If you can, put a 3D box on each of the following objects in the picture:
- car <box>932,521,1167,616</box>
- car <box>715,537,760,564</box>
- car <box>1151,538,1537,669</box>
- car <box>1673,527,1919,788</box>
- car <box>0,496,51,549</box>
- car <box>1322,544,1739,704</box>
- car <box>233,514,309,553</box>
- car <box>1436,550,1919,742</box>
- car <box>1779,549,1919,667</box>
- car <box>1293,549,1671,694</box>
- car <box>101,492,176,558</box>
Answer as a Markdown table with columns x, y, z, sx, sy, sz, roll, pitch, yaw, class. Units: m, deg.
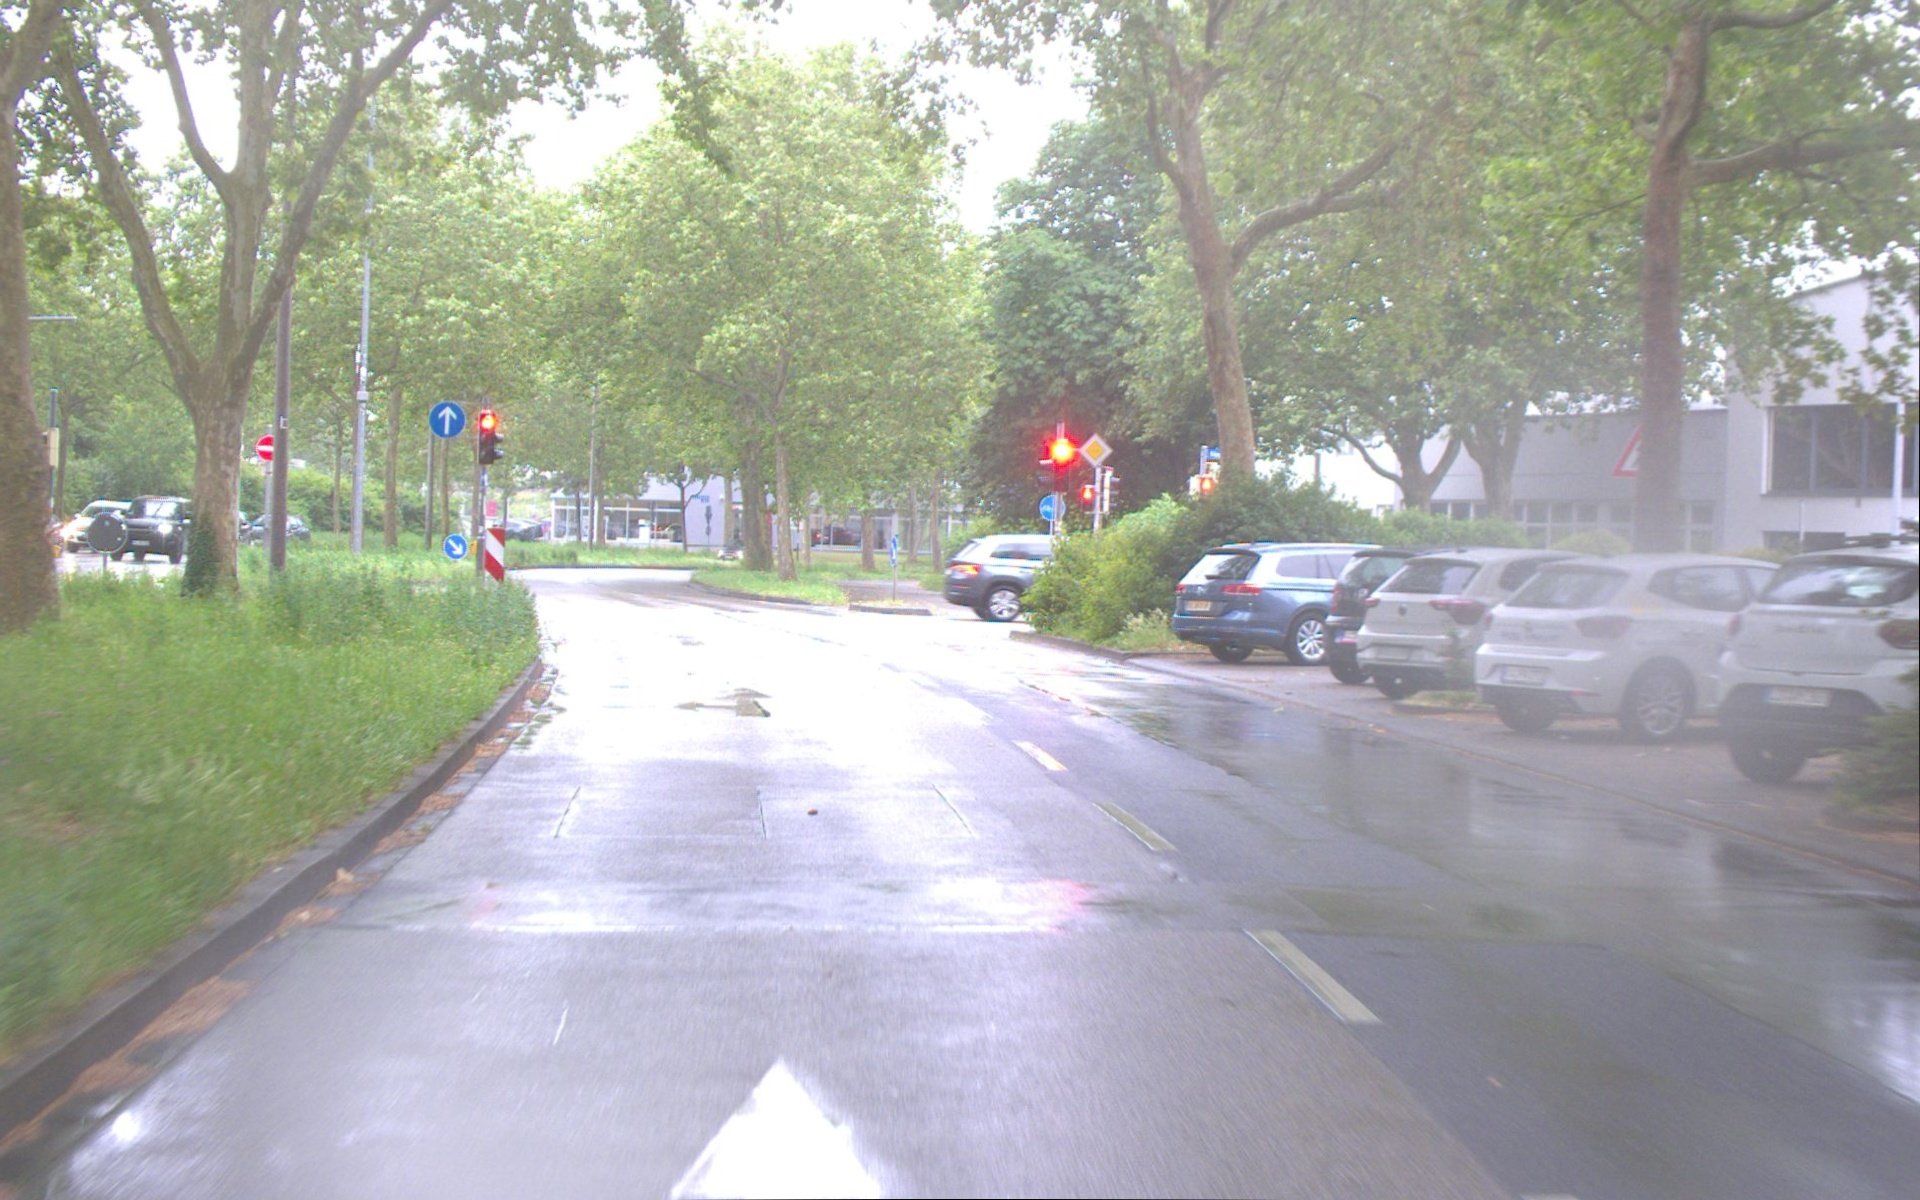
| x | y | z | sx | sy | sz | roll | pitch | yaw | class |
| --- | --- | --- | --- | --- | --- | --- | --- | --- | --- |
| 1.674 | -0.603 | 65.373 | 4.291 | 1.644 | 1.749 | 2 | 1 | -2 | car |
| -12.182 | -2.704 | 188.238 | 1.588 | 1.368 | 4.261 | 2 | 1 | 8 | car |
| 4.712 | 0.052 | 42.009 | 4.481 | 1.454 | 1.749 | 1 | 1 | -30 | car |
| 6.698 | 0.367 | 22.256 | 4.025 | 1.534 | 1.749 | 1 | 1 | -35 | car |
| -27.567 | -2.255 | 99.698 | 1.743 | 1.471 | 4.236 | 2 | 1 | -8 | car |
| 5.484 | 0.240 | 32.959 | 3.681 | 1.411 | 1.775 | 1 | 1 | -34 | car |
| -26.119 | -2.509 | 130.440 | 1.587 | 1.368 | 4.261 | 2 | 1 | 6 | car |
| 5.832 | 0.374 | 27.420 | 3.680 | 1.411 | 1.749 | 1 | 1 | -30 | car |
| 15.273 | 0.161 | 53.517 | 4.536 | 1.751 | 1.781 | 2 | 1 | -10 | car |
| 5.520 | 0.229 | 36.244 | 3.680 | 1.411 | 1.749 | 1 | 1 | -33 | car |
| -24.170 | -2.201 | 101.289 | 1.743 | 1.835 | 5.122 | 2 | 1 | -9 | car |
